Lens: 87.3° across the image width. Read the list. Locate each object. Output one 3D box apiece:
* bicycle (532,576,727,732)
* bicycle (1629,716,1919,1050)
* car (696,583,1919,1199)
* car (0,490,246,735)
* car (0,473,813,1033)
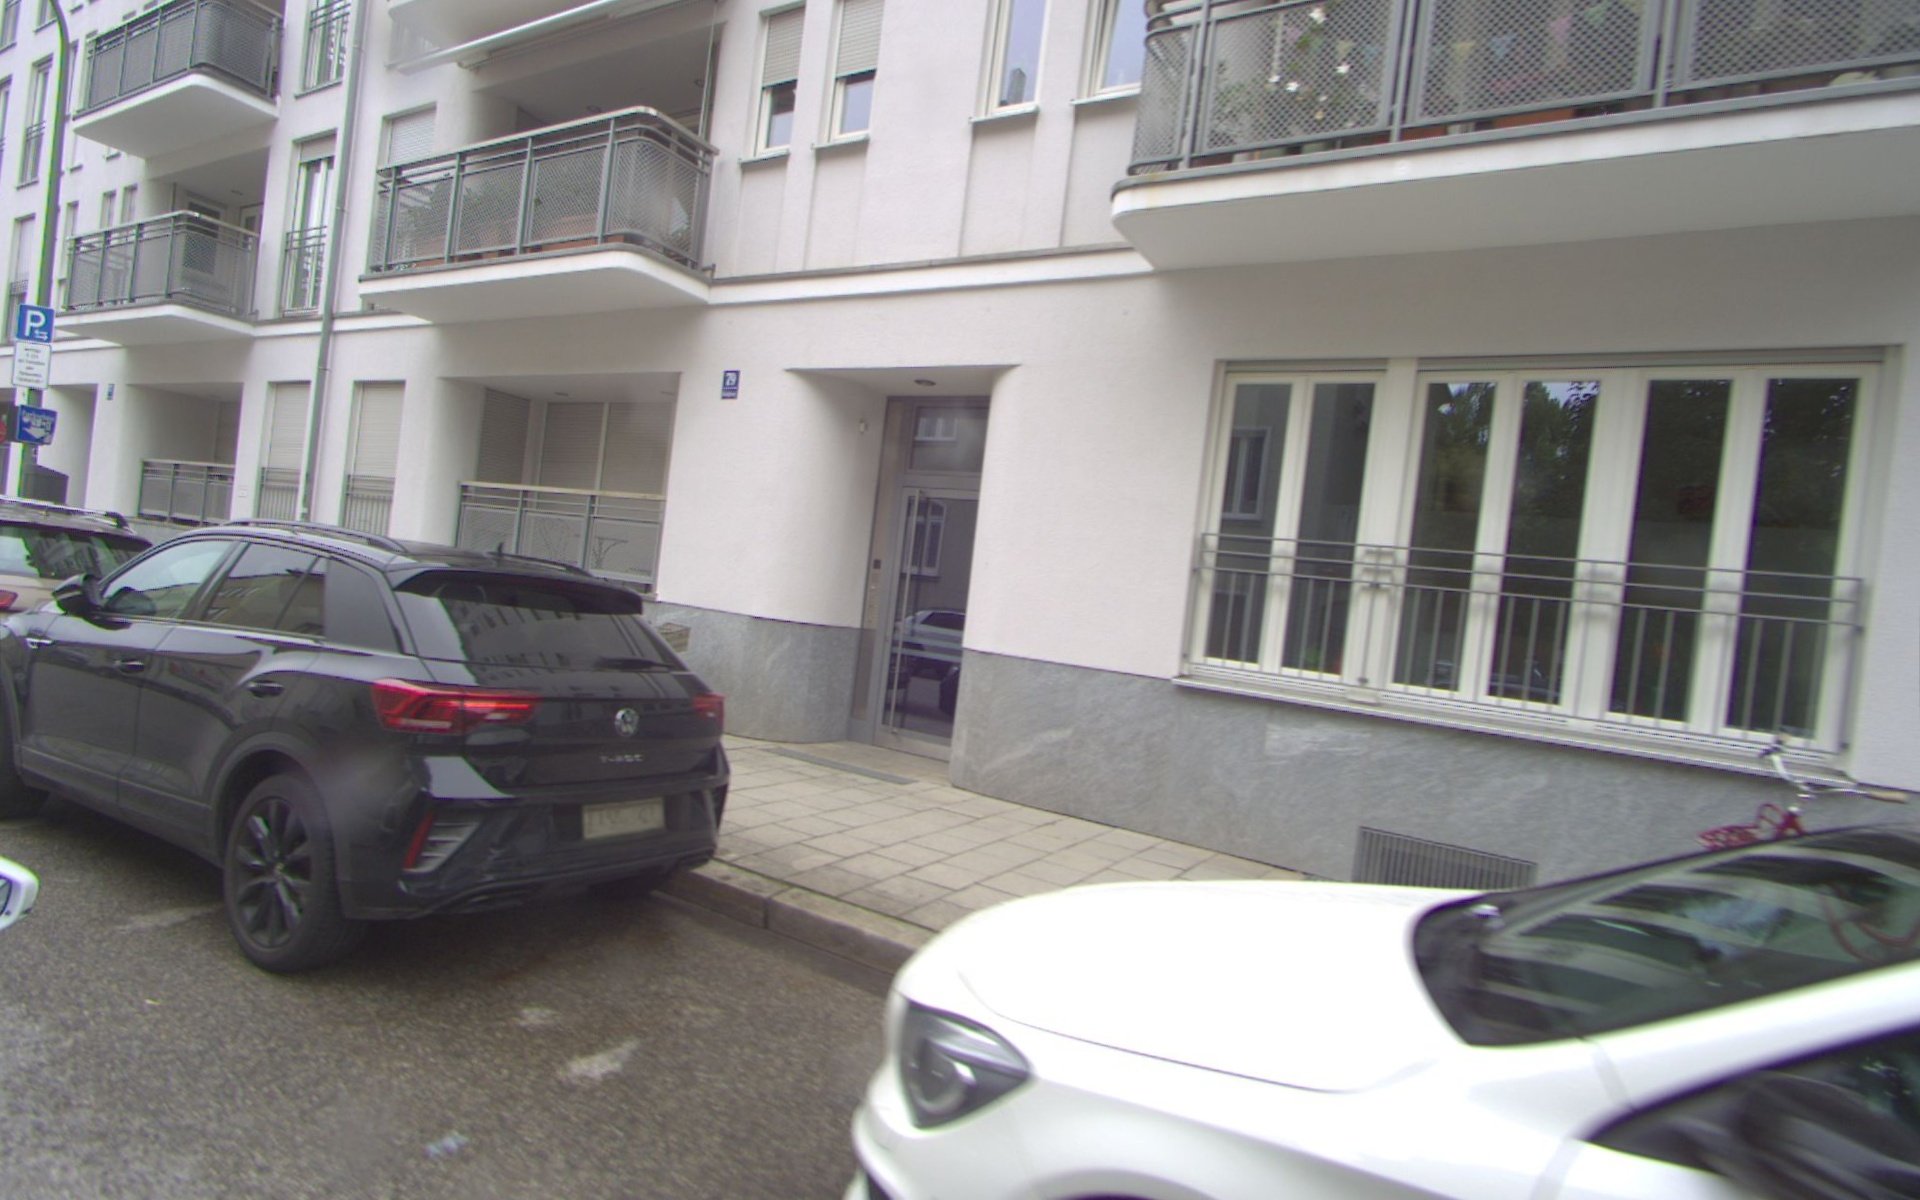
[{"bbox_3d":[-2.952,0.439,8.909,1.780,1.113,0.569,7,4,32],"label":"bicycle"},{"bbox_3d":[4.173,1.262,4.377,1.941,1.186,0.803,7,0,32],"label":"bicycle"},{"bbox_3d":[1.796,1.017,1.629,4.302,1.484,1.668,7,-1,30],"label":"car"},{"bbox_3d":[-7.639,-0.121,7.616,4.525,1.499,1.795,7,-1,30],"label":"car"},{"bbox_3d":[-2.933,0.418,4.835,3.952,1.551,1.842,7,-1,29],"label":"car"}]
